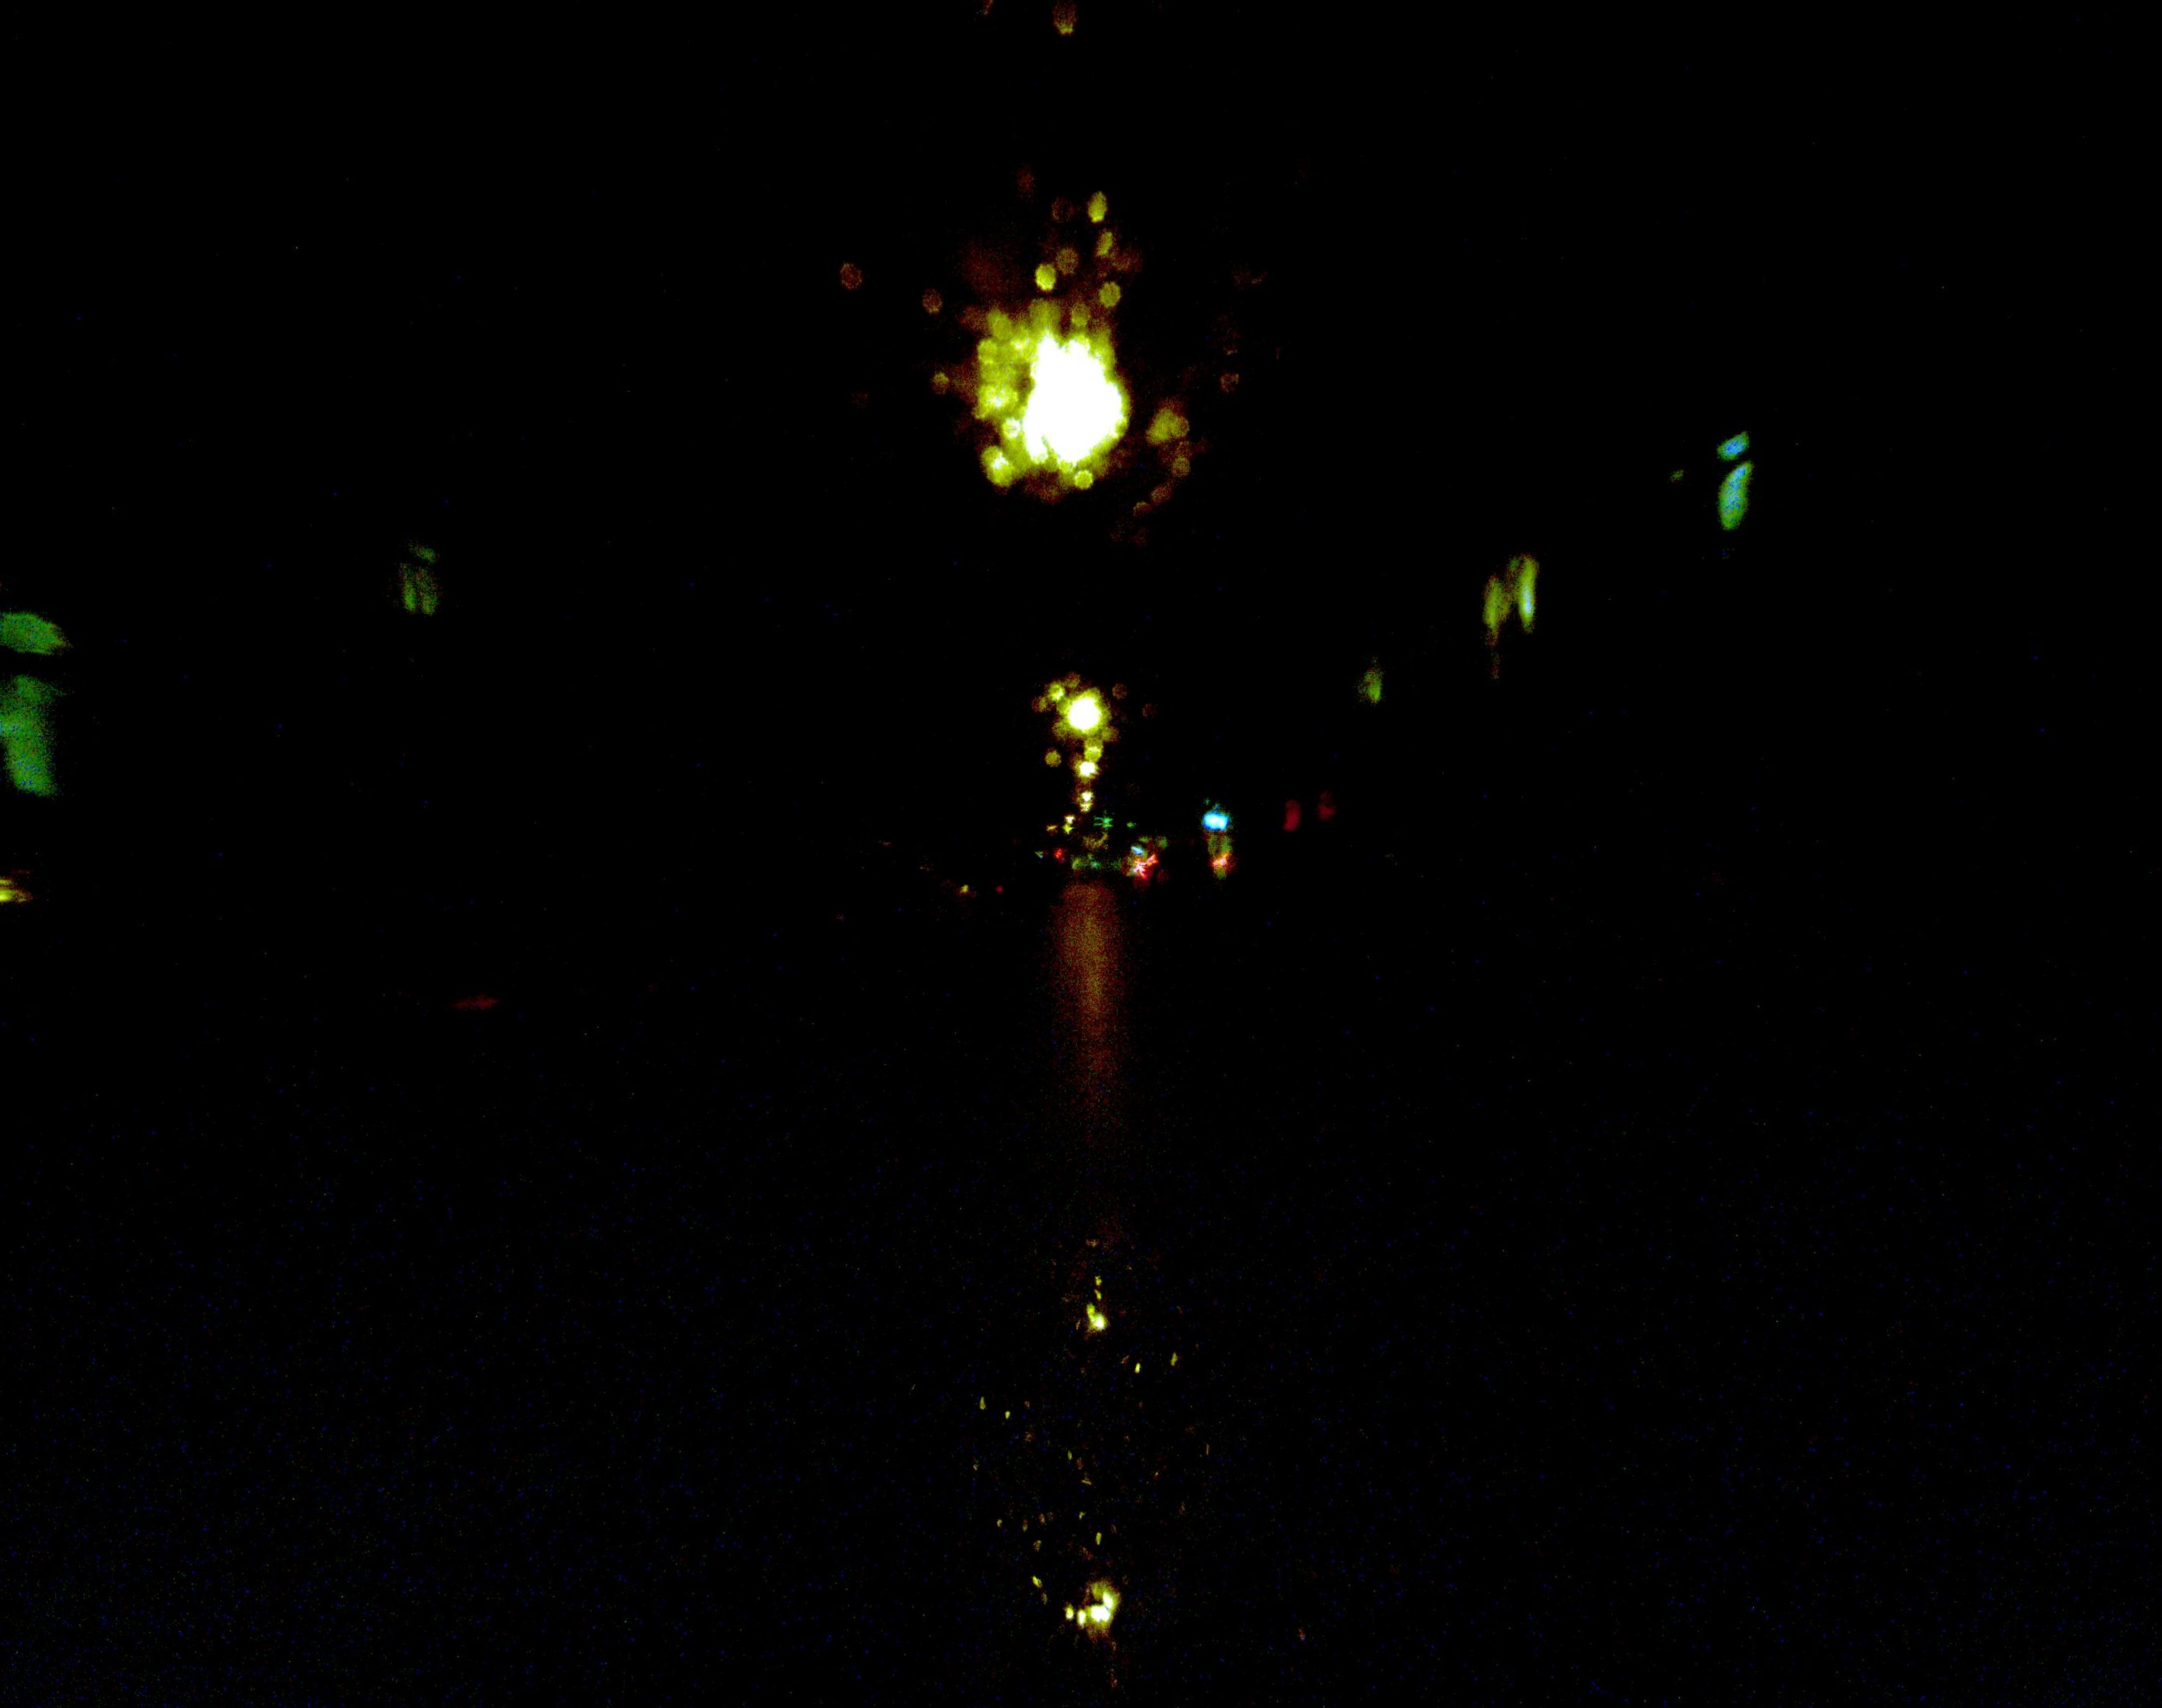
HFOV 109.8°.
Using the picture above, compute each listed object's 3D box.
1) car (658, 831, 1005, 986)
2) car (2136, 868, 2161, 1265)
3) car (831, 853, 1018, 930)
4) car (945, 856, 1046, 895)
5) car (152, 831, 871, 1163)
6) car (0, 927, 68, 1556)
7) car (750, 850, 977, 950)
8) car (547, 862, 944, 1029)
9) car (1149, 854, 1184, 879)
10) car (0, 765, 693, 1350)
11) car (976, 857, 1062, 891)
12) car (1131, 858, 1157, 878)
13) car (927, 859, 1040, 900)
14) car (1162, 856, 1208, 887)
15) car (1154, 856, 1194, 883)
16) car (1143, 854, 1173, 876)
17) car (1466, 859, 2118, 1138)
[{"bbox_3d":[-3.749,0.743,11.644,4.720,1.968,1.975,2,0,-28],"label":"car"},{"bbox_3d":[4.945,0.772,0.841,1.721,1.470,4.159,-1,0,-2],"label":"car"},{"bbox_3d":[-3.597,0.828,17.395,3.939,1.610,1.707,2,0,-21],"label":"car"},{"bbox_3d":[-3.635,0.900,32.327,3.939,1.553,1.707,2,0,-23],"label":"car"},{"bbox_3d":[-3.897,0.807,5.948,3.942,1.782,1.738,2,0,-36],"label":"car"},{"bbox_3d":[-3.891,0.910,0.167,4.064,1.444,1.674,0,0,-34],"label":"car"},{"bbox_3d":[-4.156,0.840,14.584,3.939,1.732,1.707,2,0,-21],"label":"car"},{"bbox_3d":[-3.817,0.913,8.939,3.941,1.541,1.739,2,0,-33],"label":"car"},{"bbox_3d":[5.667,0.822,50.761,1.851,1.571,3.735,-2,0,0],"label":"car"},{"bbox_3d":[-4.014,0.666,3.240,3.942,1.931,1.738,2,0,-36],"label":"car"},{"bbox_3d":[-3.110,1.001,37.958,3.939,1.553,1.707,2,0,-23],"label":"car"},{"bbox_3d":[5.273,1.120,63.724,1.851,1.571,3.735,-2,0,0],"label":"car"},{"bbox_3d":[-3.707,0.973,28.892,3.939,1.455,1.707,2,0,-23],"label":"car"},{"bbox_3d":[5.318,0.882,39.131,1.851,1.470,3.735,-2,0,0],"label":"car"},{"bbox_3d":[5.440,0.854,44.807,1.851,1.470,3.735,-2,0,0],"label":"car"},{"bbox_3d":[5.681,0.798,56.392,1.851,1.571,3.735,-2,0,0],"label":"car"},{"bbox_3d":[4.823,0.807,6.036,1.720,1.470,3.786,-2,0,3],"label":"car"}]
